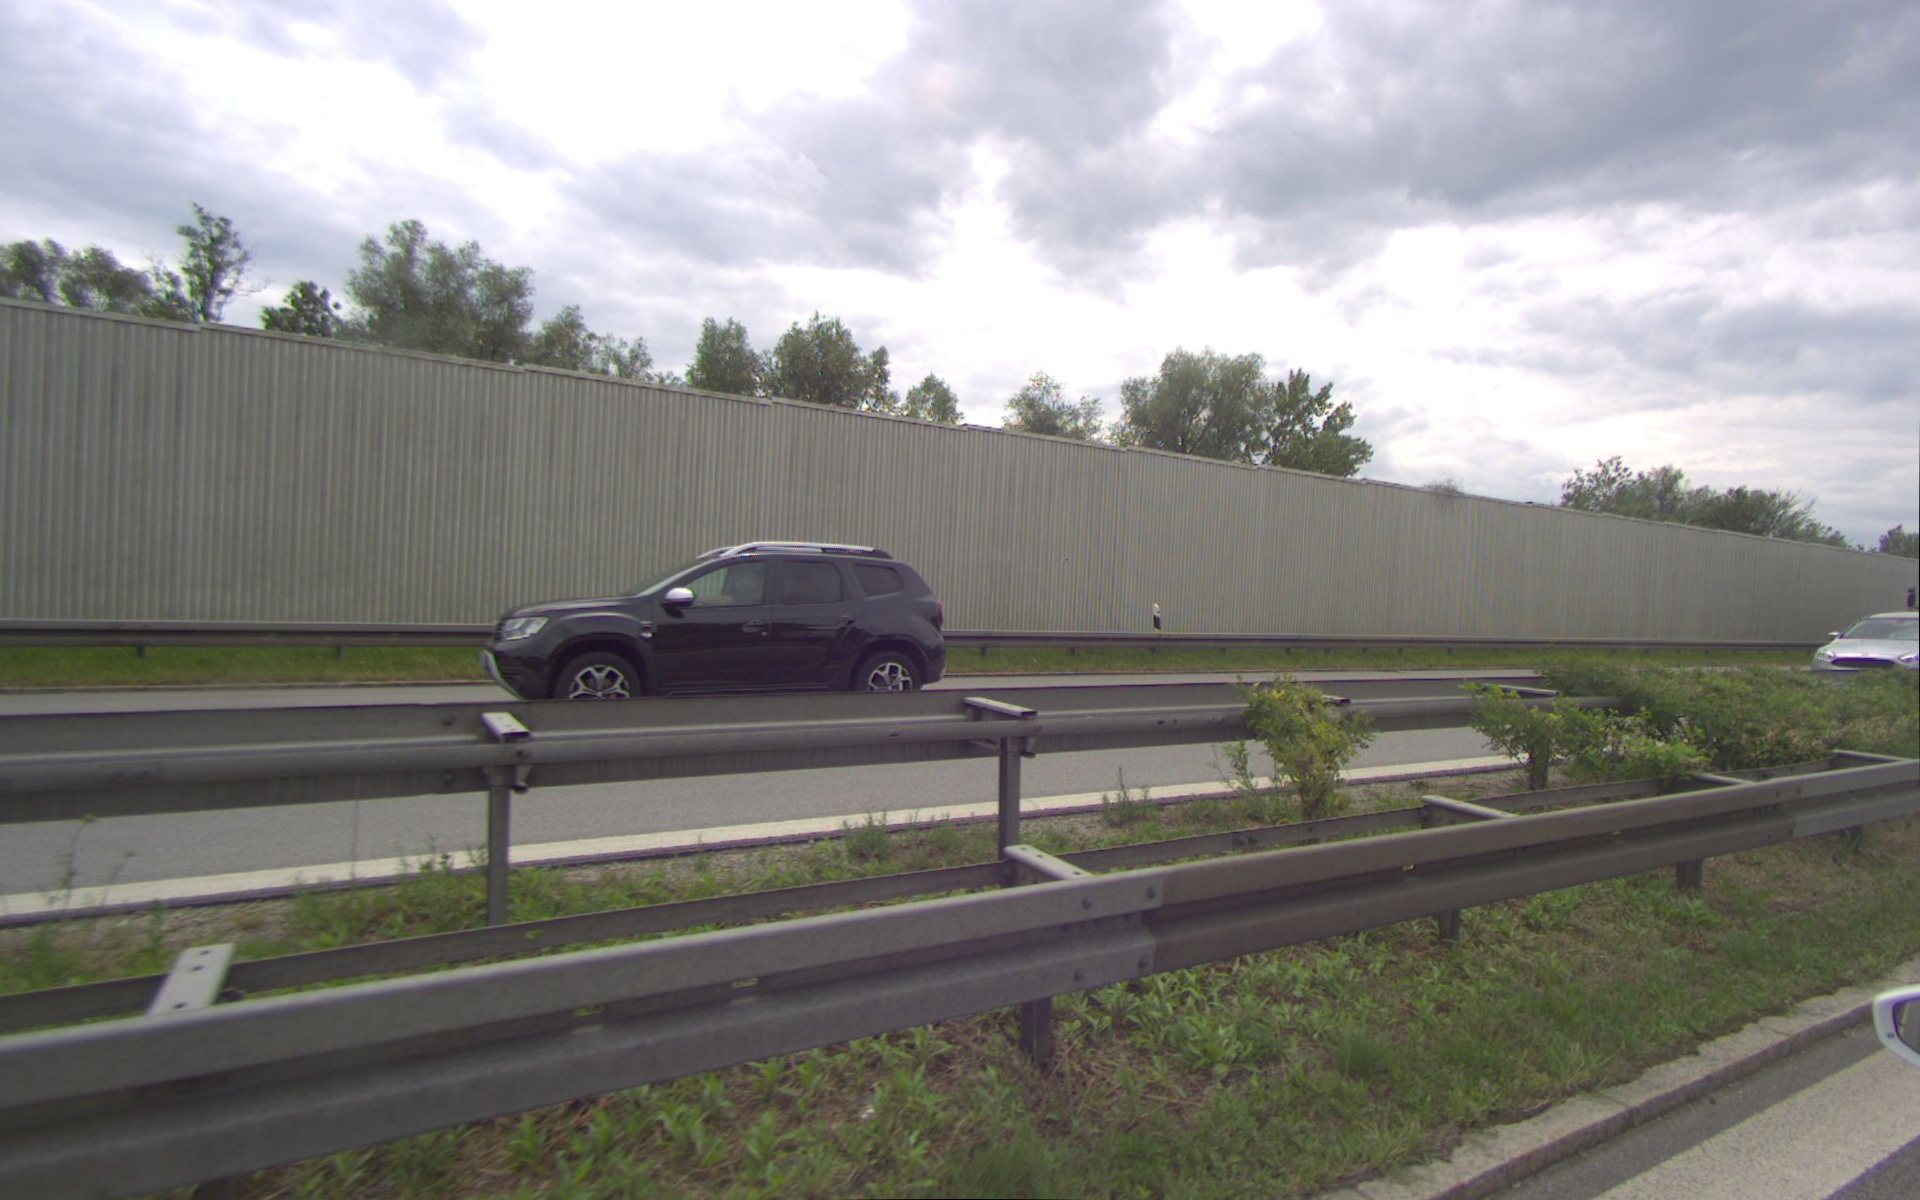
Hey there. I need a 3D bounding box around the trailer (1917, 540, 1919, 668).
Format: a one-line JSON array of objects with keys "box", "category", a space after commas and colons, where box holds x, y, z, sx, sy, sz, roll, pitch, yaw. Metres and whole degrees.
[{"box": [38.835, 0.336, 36.071, 14.019, 4.296, 2.966, 2, -1, -32], "category": "trailer"}]

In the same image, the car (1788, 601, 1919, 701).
[{"box": [16.791, 0.870, 17.700, 4.513, 1.569, 1.922, 2, 0, -30], "category": "car"}]

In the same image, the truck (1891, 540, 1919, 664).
[{"box": [33.156, 0.155, 32.519, 6.006, 3.910, 2.858, 2, 0, -31], "category": "truck"}]

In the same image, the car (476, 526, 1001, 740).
[{"box": [-2.031, 0.307, 9.694, 4.648, 1.664, 1.708, 2, 0, -30], "category": "car"}]
